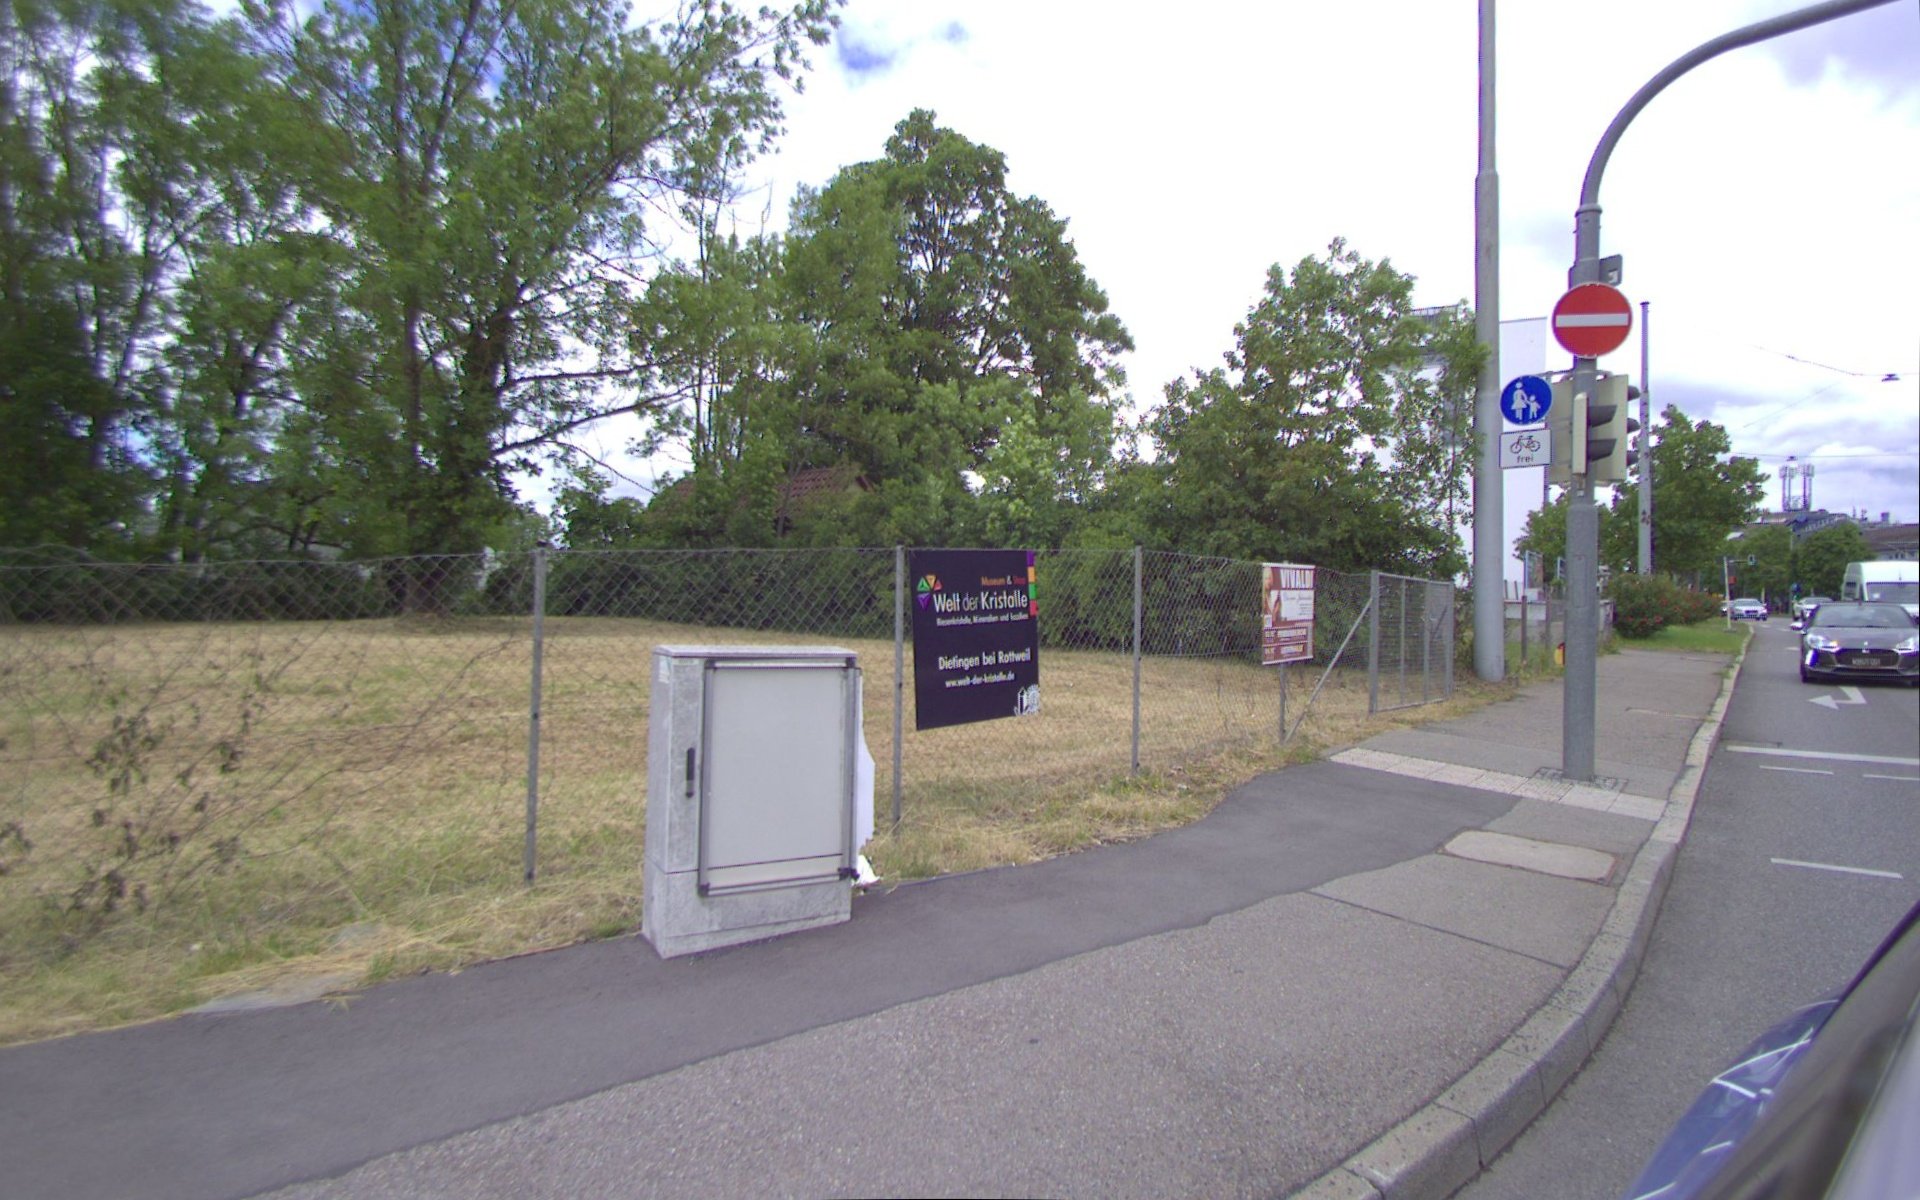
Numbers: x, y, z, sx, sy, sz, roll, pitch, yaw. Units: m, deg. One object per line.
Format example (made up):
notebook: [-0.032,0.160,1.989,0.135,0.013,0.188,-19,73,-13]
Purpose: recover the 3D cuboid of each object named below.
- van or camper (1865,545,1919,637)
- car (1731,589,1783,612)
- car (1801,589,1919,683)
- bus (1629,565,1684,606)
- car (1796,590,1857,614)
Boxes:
van or camper: [31.111,-0.231,32.895,2.274,2.740,6.884,1,0,44]
car: [52.628,0.004,66.889,1.981,1.393,3.962,1,1,27]
car: [16.742,0.612,18.527,1.854,1.544,3.946,1,0,37]
bus: [61.929,-1.209,90.145,2.700,3.144,8.780,8,4,28]
car: [53.216,0.078,62.260,1.981,1.393,3.962,1,1,28]
